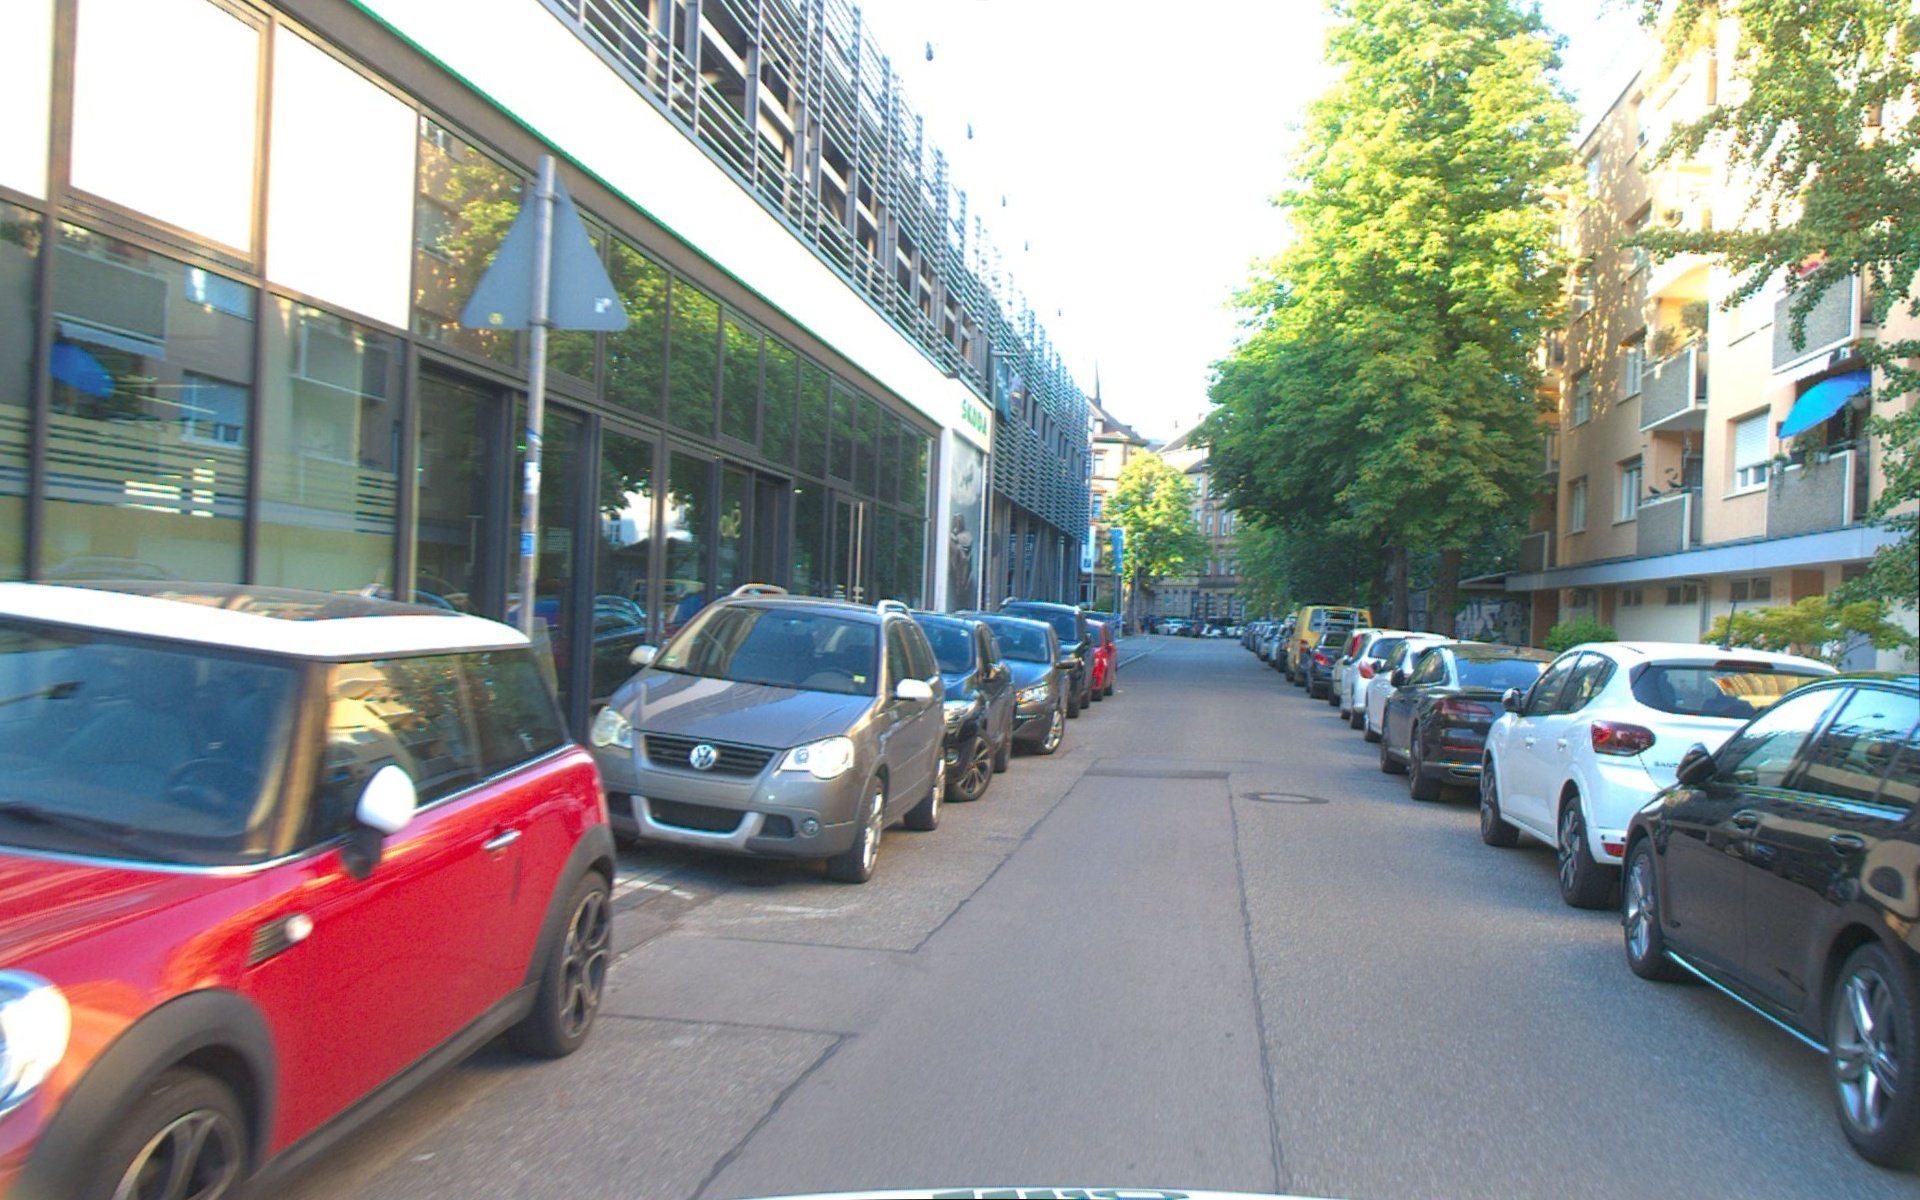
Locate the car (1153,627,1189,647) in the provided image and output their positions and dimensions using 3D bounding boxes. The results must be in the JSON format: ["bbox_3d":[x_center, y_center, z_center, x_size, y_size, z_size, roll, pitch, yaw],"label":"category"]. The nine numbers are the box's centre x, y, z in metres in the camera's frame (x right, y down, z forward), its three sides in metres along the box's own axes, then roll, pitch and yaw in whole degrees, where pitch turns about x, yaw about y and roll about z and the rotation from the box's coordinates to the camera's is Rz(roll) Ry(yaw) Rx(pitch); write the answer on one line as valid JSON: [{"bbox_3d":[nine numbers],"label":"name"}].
[{"bbox_3d":[17.830,3.124,140.101,1.626,1.456,4.153,3,0,-13],"label":"car"}]

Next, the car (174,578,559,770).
[{"bbox_3d":[-5.487,0.628,15.935,1.661,1.541,4.195,2,0,8],"label":"car"}]

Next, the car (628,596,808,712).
[{"bbox_3d":[-3.833,0.821,26.961,1.661,1.687,4.413,2,0,8],"label":"car"}]

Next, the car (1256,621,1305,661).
[{"bbox_3d":[12.945,1.648,66.942,1.722,1.467,4.009,2,0,9],"label":"car"}]

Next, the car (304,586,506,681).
[{"bbox_3d":[-9.439,0.549,28.451,1.661,1.459,3.923,2,0,8],"label":"car"}]

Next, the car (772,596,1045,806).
[{"bbox_3d":[-0.312,0.805,15.000,1.693,1.426,4.009,7,0,7],"label":"car"}]

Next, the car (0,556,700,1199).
[{"bbox_3d":[-2.048,0.688,4.332,1.627,1.434,3.929,7,0,5],"label":"car"}]

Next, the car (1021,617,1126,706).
[{"bbox_3d":[2.232,1.131,31.696,1.661,1.532,3.793,2,0,8],"label":"car"}]

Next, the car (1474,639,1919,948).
[{"bbox_3d":[4.460,1.028,10.382,1.771,1.441,3.899,2,0,9],"label":"car"}]

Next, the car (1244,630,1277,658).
[{"bbox_3d":[17.132,2.498,94.324,1.659,1.502,4.120,2,-1,9],"label":"car"}]

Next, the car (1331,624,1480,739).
[{"bbox_3d":[6.955,1.212,26.198,1.753,1.590,4.197,2,0,8],"label":"car"}]

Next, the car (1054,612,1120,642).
[{"bbox_3d":[8.215,1.746,106.681,4.042,1.646,1.915,4,0,7],"label":"car"}]

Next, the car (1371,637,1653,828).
[{"bbox_3d":[5.141,1.143,16.015,1.771,1.441,4.629,2,0,8],"label":"car"}]

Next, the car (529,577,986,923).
[{"bbox_3d":[-1.010,0.766,10.266,1.627,1.522,3.887,7,0,9],"label":"car"}]

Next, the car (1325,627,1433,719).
[{"bbox_3d":[7.784,1.308,30.957,1.575,1.537,3.480,2,0,8],"label":"car"}]

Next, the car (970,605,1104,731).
[{"bbox_3d":[1.318,1.010,26.389,1.661,1.787,4.406,2,0,8],"label":"car"}]

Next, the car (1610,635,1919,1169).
[{"bbox_3d":[3.748,0.903,6.003,1.680,1.444,4.031,2,0,8],"label":"car"}]

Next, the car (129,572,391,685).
[{"bbox_3d":[-10.037,0.390,24.046,1.661,1.459,3.923,2,0,8],"label":"car"}]

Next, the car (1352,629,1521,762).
[{"bbox_3d":[6.187,1.175,21.848,1.575,1.487,4.057,2,0,8],"label":"car"}]

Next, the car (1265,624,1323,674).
[{"bbox_3d":[11.414,1.645,56.760,1.685,1.546,4.029,2,0,8],"label":"car"}]

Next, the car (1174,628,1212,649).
[{"bbox_3d":[19.079,3.121,135.313,1.627,1.456,3.975,3,0,-15],"label":"car"}]

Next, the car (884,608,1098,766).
[{"bbox_3d":[0.504,0.948,20.026,1.896,1.624,4.208,2,0,10],"label":"car"}]

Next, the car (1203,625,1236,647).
[{"bbox_3d":[22.493,3.110,143.521,1.647,1.813,3.003,3,0,-15],"label":"car"}]

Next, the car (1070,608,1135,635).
[{"bbox_3d":[10.786,1.649,125.210,4.729,1.762,1.921,3,0,3],"label":"car"}]

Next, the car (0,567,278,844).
[{"bbox_3d":[-6.422,0.626,11.150,1.559,1.679,3.879,2,0,8],"label":"car"}]

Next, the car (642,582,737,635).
[{"bbox_3d":[-7.048,0.207,43.371,1.389,1.277,3.529,2,0,9],"label":"car"}]

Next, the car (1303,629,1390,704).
[{"bbox_3d":[8.360,1.399,35.997,1.572,1.406,4.003,2,0,10],"label":"car"}]

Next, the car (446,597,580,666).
[{"bbox_3d":[-8.966,0.614,33.409,1.389,1.277,3.216,2,0,9],"label":"car"}]

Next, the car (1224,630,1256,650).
[{"bbox_3d":[23.660,3.370,139.831,1.647,1.552,2.756,3,0,-15],"label":"car"}]

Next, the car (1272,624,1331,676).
[{"bbox_3d":[10.608,1.524,51.537,1.529,1.475,3.456,2,0,8],"label":"car"}]

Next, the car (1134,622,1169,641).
[{"bbox_3d":[16.748,2.764,144.769,1.627,1.456,3.880,3,0,-15],"label":"car"}]

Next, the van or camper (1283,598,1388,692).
[{"bbox_3d":[9.276,1.043,41.255,2.020,2.132,5.094,2,0,7],"label":"van or camper"}]

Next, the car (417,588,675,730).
[{"bbox_3d":[-5.028,0.675,20.666,1.661,1.541,3.996,2,0,9],"label":"car"}]

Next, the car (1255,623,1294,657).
[{"bbox_3d":[15.695,1.988,82.725,1.722,1.632,3.876,2,-1,9],"label":"car"}]

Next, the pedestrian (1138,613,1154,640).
[{"bbox_3d":[12.666,1.801,112.782,0.722,1.835,1.119,2,0,-11],"label":"pedestrian"}]

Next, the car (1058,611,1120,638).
[{"bbox_3d":[8.564,1.630,109.696,3.981,1.646,1.766,2,0,7],"label":"car"}]

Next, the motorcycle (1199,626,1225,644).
[{"bbox_3d":[20.103,2.817,131.912,1.892,1.364,0.577,2,0,-2],"label":"motorcycle"}]
